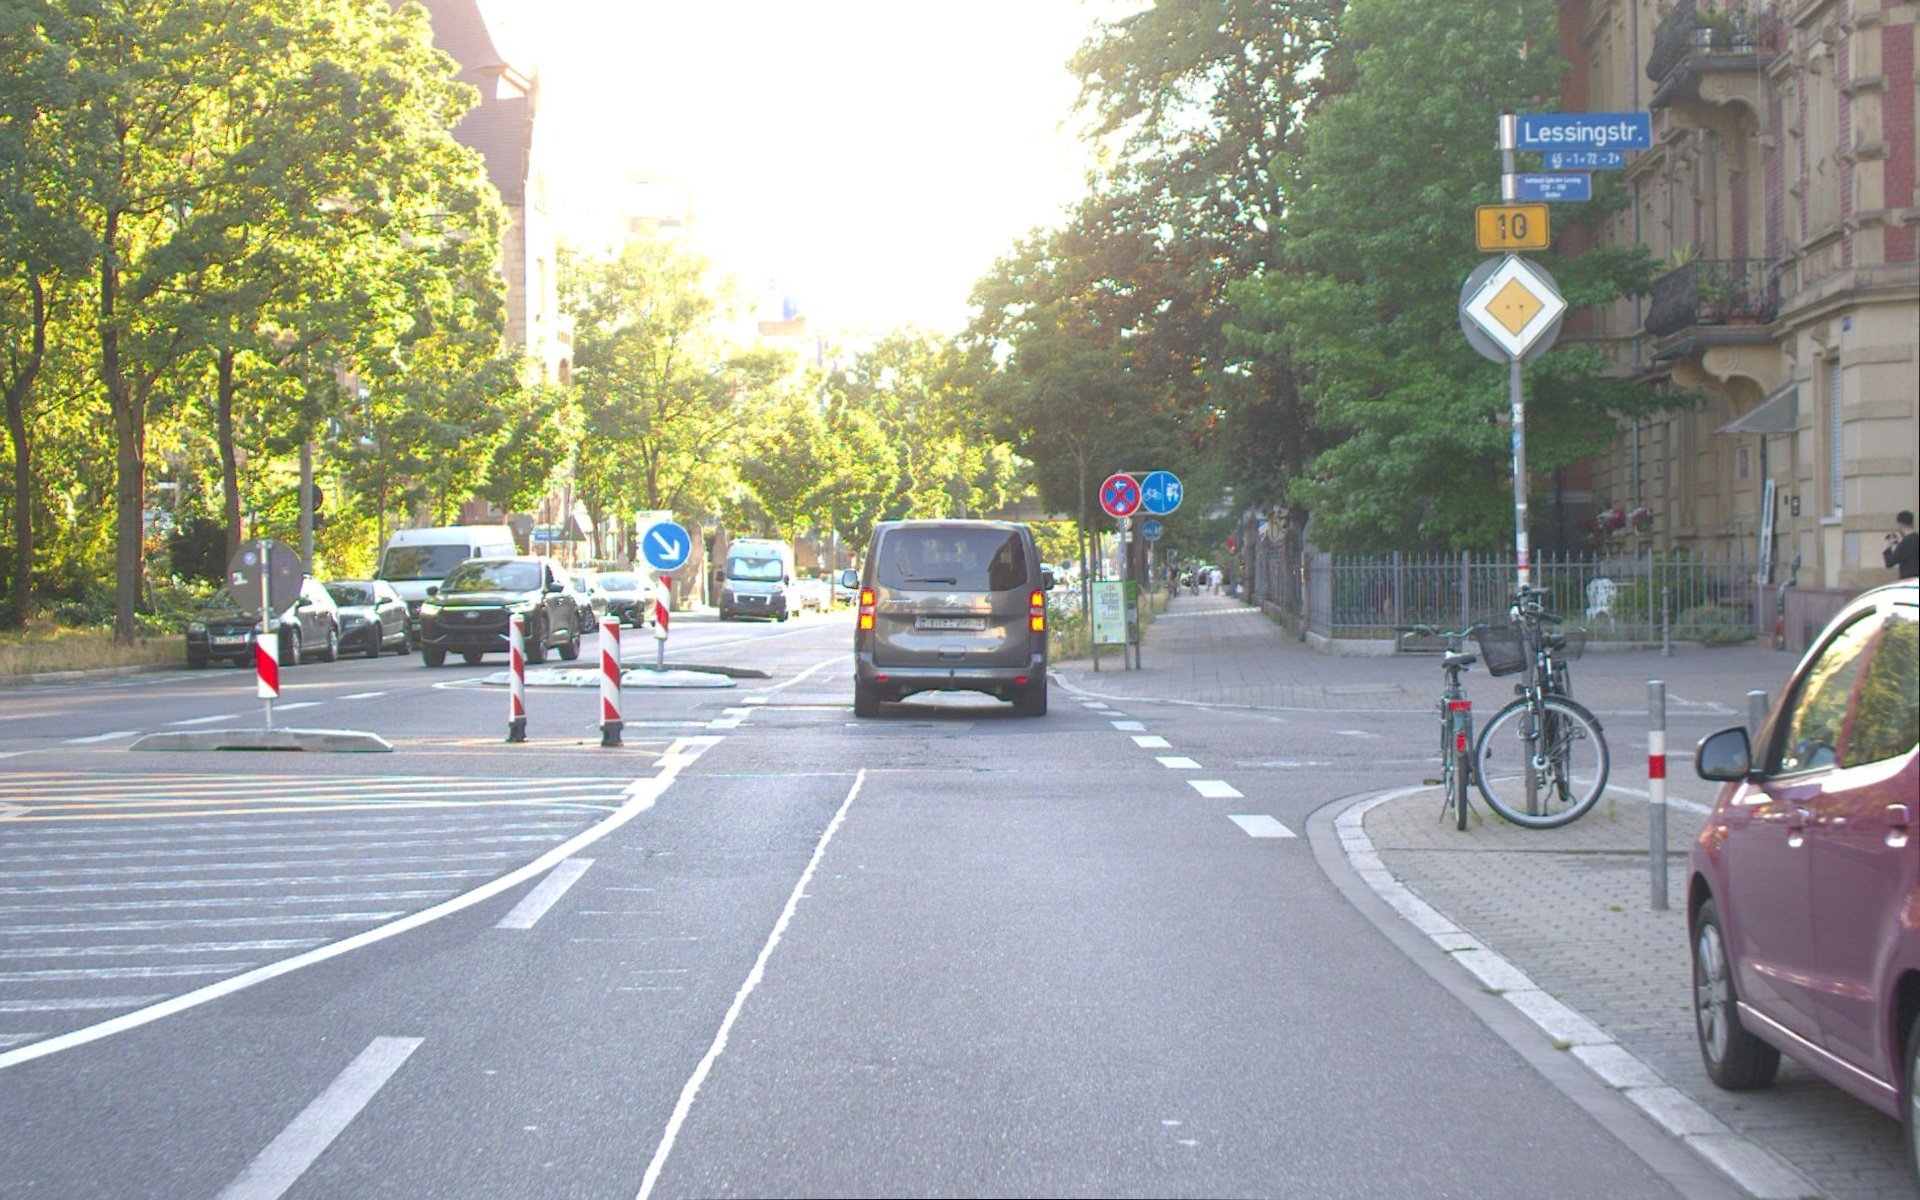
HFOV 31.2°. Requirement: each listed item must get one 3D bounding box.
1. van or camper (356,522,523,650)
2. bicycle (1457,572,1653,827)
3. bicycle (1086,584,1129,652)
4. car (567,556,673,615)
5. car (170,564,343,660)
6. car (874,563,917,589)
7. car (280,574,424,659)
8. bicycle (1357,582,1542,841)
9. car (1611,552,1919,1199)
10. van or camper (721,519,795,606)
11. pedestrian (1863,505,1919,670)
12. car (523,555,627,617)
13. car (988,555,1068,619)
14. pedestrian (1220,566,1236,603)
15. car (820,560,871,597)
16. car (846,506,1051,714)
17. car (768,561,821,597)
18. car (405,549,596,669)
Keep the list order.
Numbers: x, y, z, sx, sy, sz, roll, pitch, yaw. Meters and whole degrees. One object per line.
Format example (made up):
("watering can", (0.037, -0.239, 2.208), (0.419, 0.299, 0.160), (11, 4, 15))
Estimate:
("van or camper", (-10.529, -0.321, 70.056), (2.091, 2.460, 6.305), (-1, 1, 3))
("bicycle", (3.227, 0.525, 18.833), (0.565, 1.271, 2.265), (-4, -1, -1))
("bicycle", (2.595, 0.308, 60.718), (0.646, 1.163, 1.931), (1, 1, 0))
("car", (-8.835, -0.396, 89.638), (1.994, 1.478, 4.829), (0, 1, 4))
("car", (-11.572, 0.163, 56.791), (1.624, 1.501, 4.543), (-1, 1, 4))
("car", (-3.576, -1.343, 190.923), (1.994, 1.409, 4.236), (2, 1, 4))
("car", (-11.030, 0.269, 62.593), (1.628, 1.424, 4.242), (-1, 1, 3))
("bicycle", (2.650, 0.586, 18.822), (0.565, 1.295, 2.265), (-4, -1, -1))
("car", (2.842, 0.615, 8.564), (1.726, 1.460, 3.547), (-4, 1, 1))
("van or camper", (-6.448, -1.205, 110.163), (1.993, 2.659, 6.039), (1, 1, 0))
("pedestrian", (10.455, -0.147, 37.786), (0.745, 1.772, 0.831), (-3, 1, 0))
("car", (-9.273, -0.360, 83.114), (1.736, 1.440, 4.625), (0, 1, 3))
("car", (1.812, -0.363, 89.998), (1.994, 1.628, 4.000), (0, 1, 2))
("pedestrian", (11.866, -0.695, 152.324), (0.644, 1.627, 0.656), (2, 1, 4))
("car", (-4.613, -0.884, 139.210), (1.697, 1.446, 4.000), (2, 1, 3))
("car", (-0.105, 0.066, 34.083), (1.887, 1.918, 3.839), (-1, 1, 0))
("car", (-5.978, -0.758, 124.698), (1.536, 1.244, 3.614), (2, 1, 3))
("car", (-7.066, 0.111, 53.314), (1.877, 1.700, 4.566), (-3, 0, 6))
